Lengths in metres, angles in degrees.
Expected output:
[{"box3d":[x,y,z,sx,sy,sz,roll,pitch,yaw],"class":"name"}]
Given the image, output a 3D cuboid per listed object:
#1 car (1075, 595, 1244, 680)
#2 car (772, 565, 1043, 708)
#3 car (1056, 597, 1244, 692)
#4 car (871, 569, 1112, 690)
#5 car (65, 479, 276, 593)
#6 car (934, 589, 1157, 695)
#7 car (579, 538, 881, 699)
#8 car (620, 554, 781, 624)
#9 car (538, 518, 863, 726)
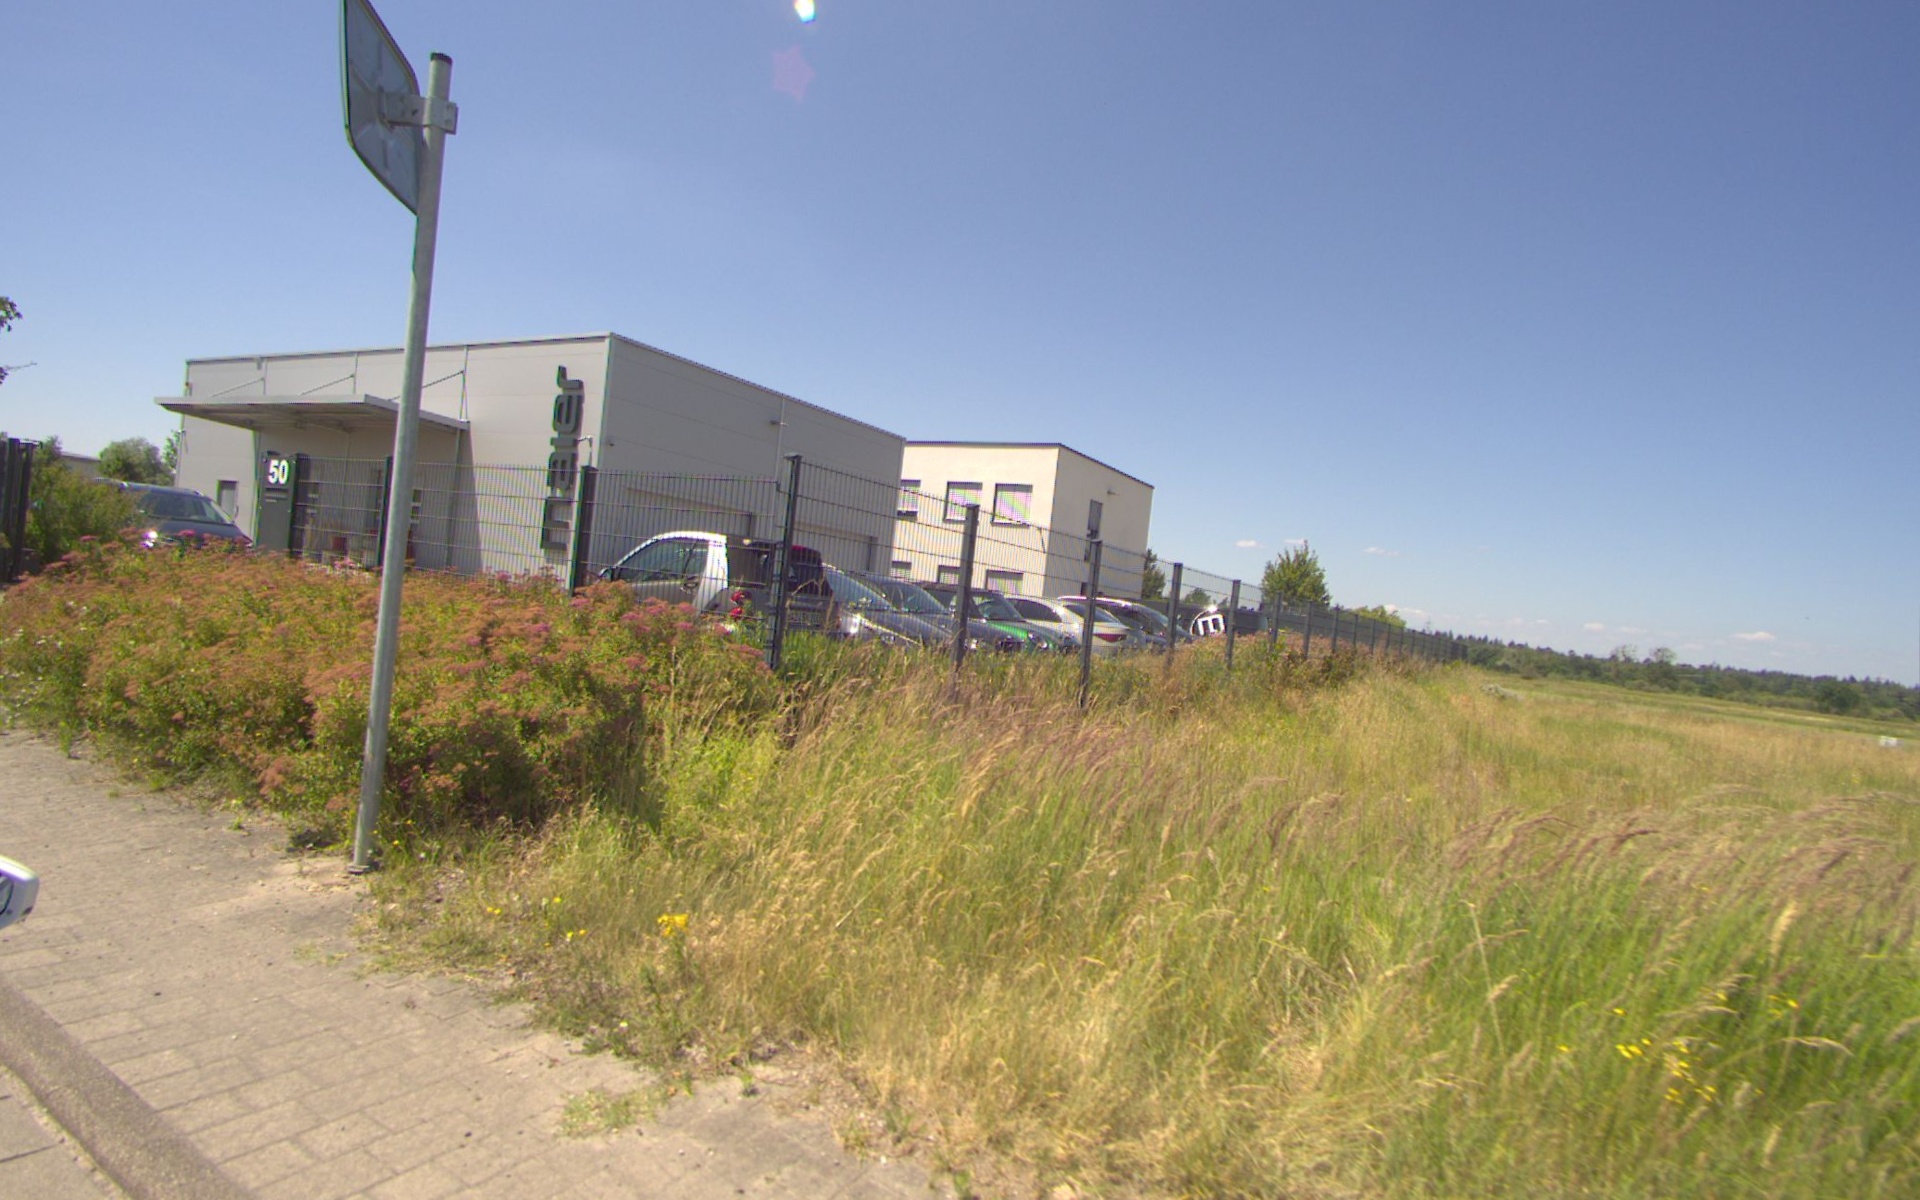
[{"box3d":[5.468,1.011,27.686,4.057,1.870,1.750,6,0,31],"class":"car"},{"box3d":[-0.734,0.460,13.665,3.276,1.515,1.516,6,0,31],"class":"car"},{"box3d":[4.218,0.971,22.468,3.721,1.654,1.516,6,1,31],"class":"car"},{"box3d":[0.454,0.423,15.318,3.276,1.430,1.459,6,0,31],"class":"car"},{"box3d":[-14.113,-1.153,17.965,3.517,1.572,1.810,8,2,32],"class":"car"},{"box3d":[1.464,0.699,17.579,3.481,1.415,1.516,6,0,31],"class":"car"},{"box3d":[-2.782,0.190,12.044,3.276,1.515,1.516,6,0,31],"class":"car"},{"box3d":[-6.770,-0.243,26.628,1.676,1.396,3.990,9,2,31],"class":"car"},{"box3d":[-2.466,0.166,9.522,2.618,1.594,1.468,6,1,32],"class":"car"}]
